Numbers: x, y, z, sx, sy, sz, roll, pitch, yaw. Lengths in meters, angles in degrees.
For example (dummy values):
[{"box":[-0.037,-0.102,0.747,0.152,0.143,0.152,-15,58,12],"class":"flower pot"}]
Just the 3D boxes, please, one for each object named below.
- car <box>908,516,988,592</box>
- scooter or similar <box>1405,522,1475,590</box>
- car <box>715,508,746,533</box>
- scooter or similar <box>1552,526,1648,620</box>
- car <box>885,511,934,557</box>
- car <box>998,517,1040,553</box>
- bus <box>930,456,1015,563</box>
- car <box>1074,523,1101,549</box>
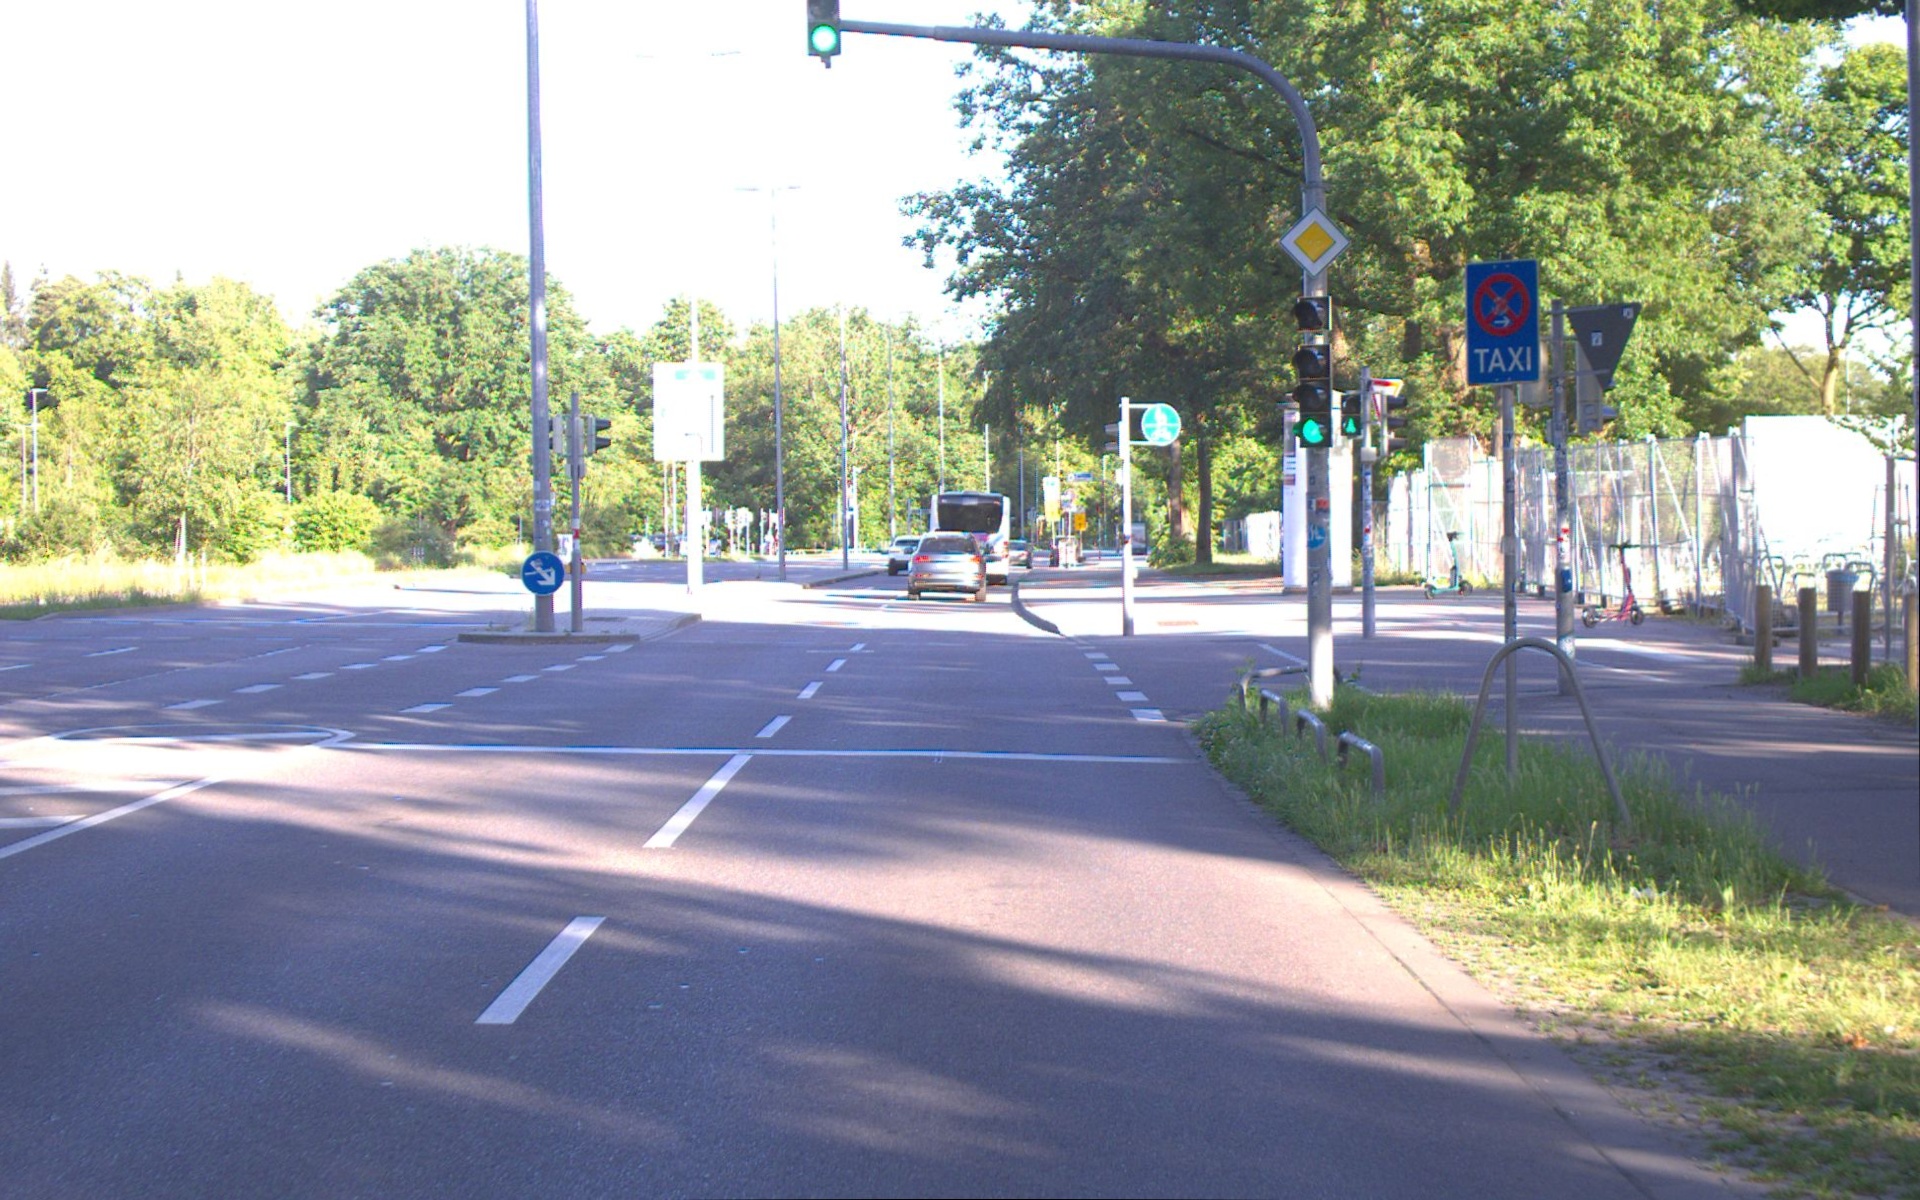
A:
[{"box":[-0.299,-1.128,83.195,1.880,1.759,4.000,0,2,0],"class":"car"},{"box":[8.913,-0.823,63.800,0.569,1.252,1.597,0,1,38],"class":"scooter or similar"},{"box":[-15.502,-5.377,232.483,1.863,1.678,3.773,-1,1,-1],"class":"car"},{"box":[9.082,-0.387,48.774,1.358,1.283,0.603,-1,4,-43],"class":"scooter or similar"},{"box":[-1.977,-2.608,134.923,1.880,1.759,4.000,0,2,0],"class":"car"},{"box":[2.883,-3.181,168.424,1.863,1.678,3.772,-1,1,4],"class":"car"},{"box":[0.361,-2.953,112.094,2.605,3.357,7.976,1,2,-1],"class":"bus"},{"box":[8.047,-4.015,216.732,1.592,1.600,3.584,2,1,1],"class":"car"}]
